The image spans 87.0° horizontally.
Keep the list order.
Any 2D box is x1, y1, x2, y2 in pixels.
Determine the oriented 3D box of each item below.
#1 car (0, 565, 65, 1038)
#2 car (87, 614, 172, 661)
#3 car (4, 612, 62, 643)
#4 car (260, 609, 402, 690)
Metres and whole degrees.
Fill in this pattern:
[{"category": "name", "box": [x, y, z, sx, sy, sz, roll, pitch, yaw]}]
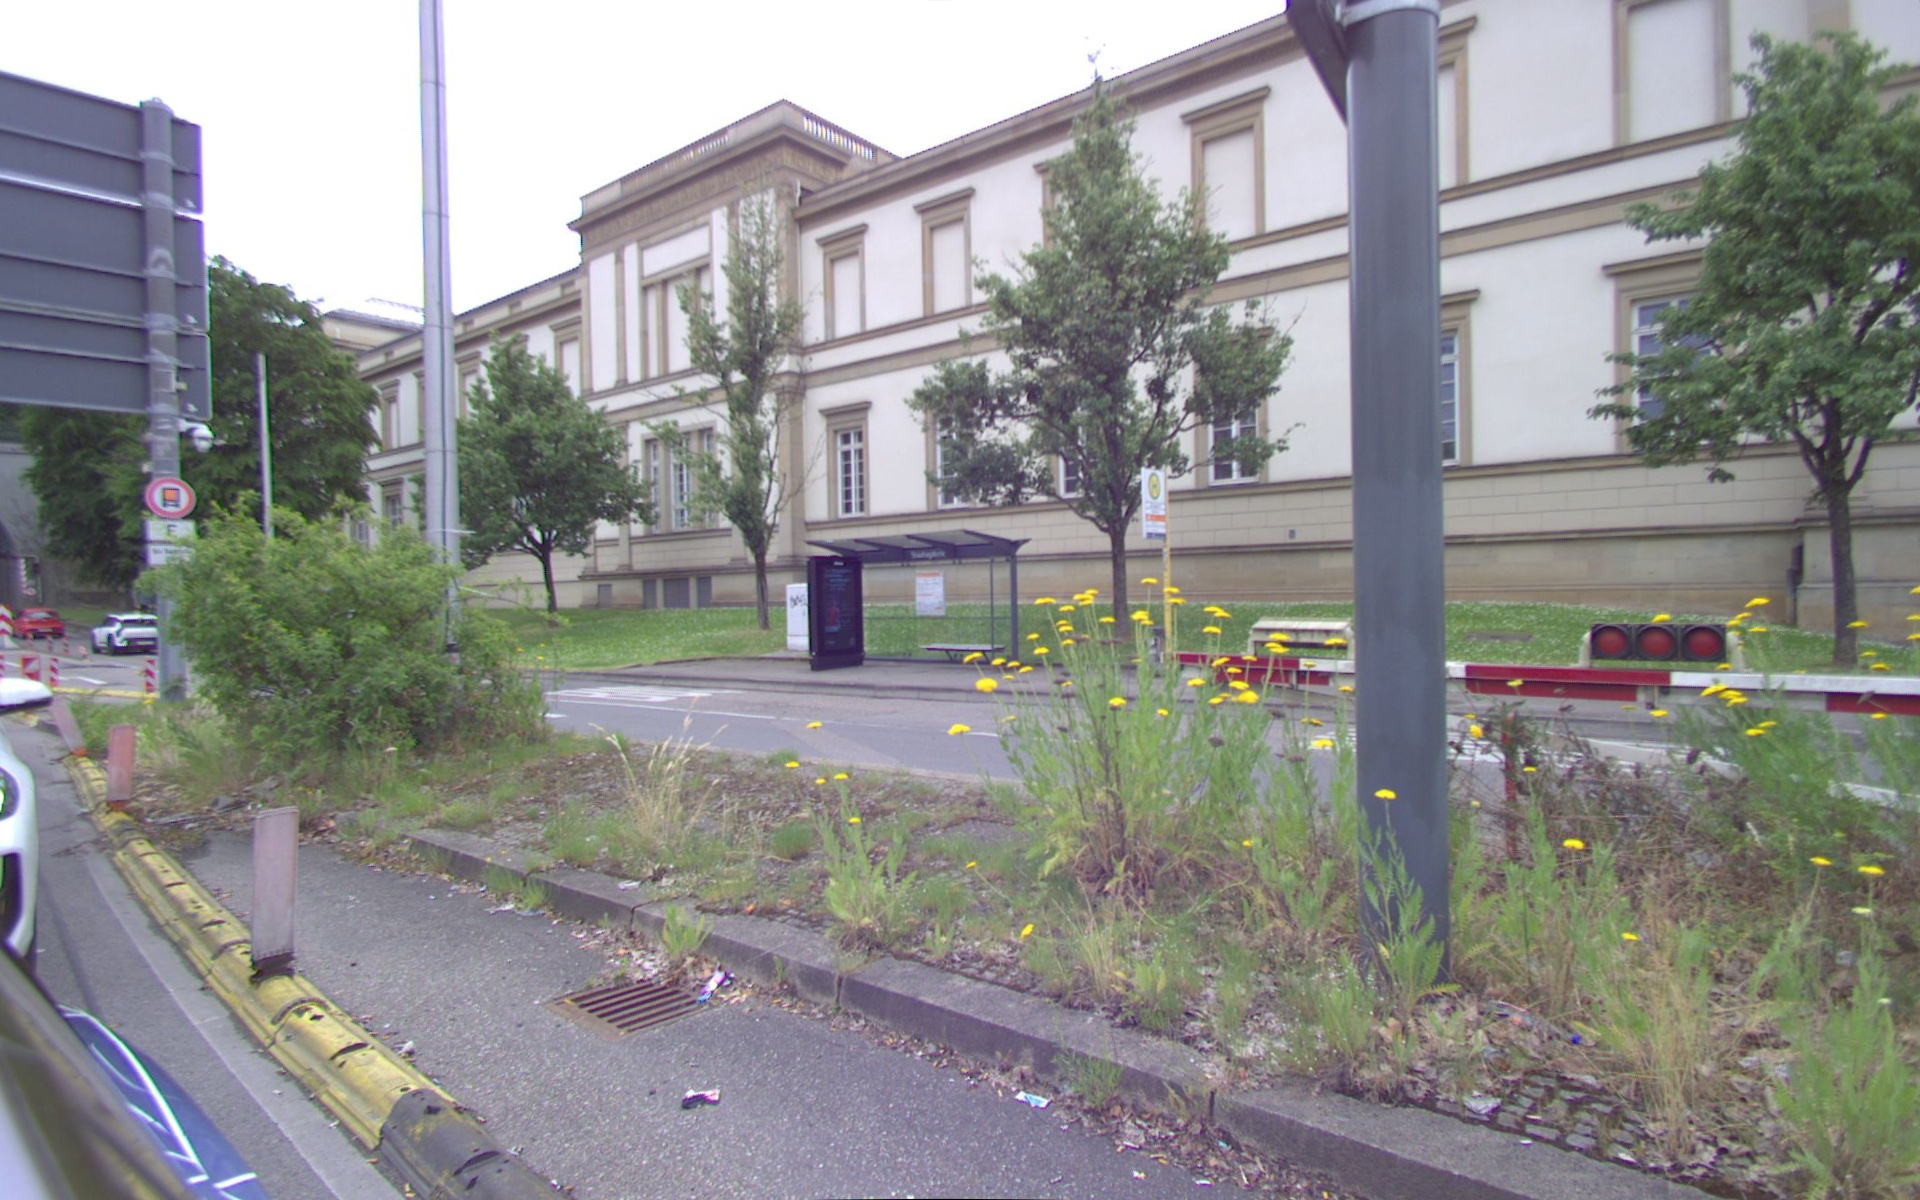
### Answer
[{"category": "car", "box": [-5.234, 0.720, 4.100, 3.668, 1.637, 1.962, -1, 0, 41]}, {"category": "car", "box": [-32.682, 1.424, 39.777, 4.265, 1.704, 1.851, -1, 0, 40]}, {"category": "car", "box": [-46.782, 1.360, 51.071, 3.570, 1.489, 1.626, -1, -1, 39]}, {"category": "car", "box": [-14.405, 1.089, 23.091, 1.877, 1.637, 4.110, -1, -1, -45]}]
